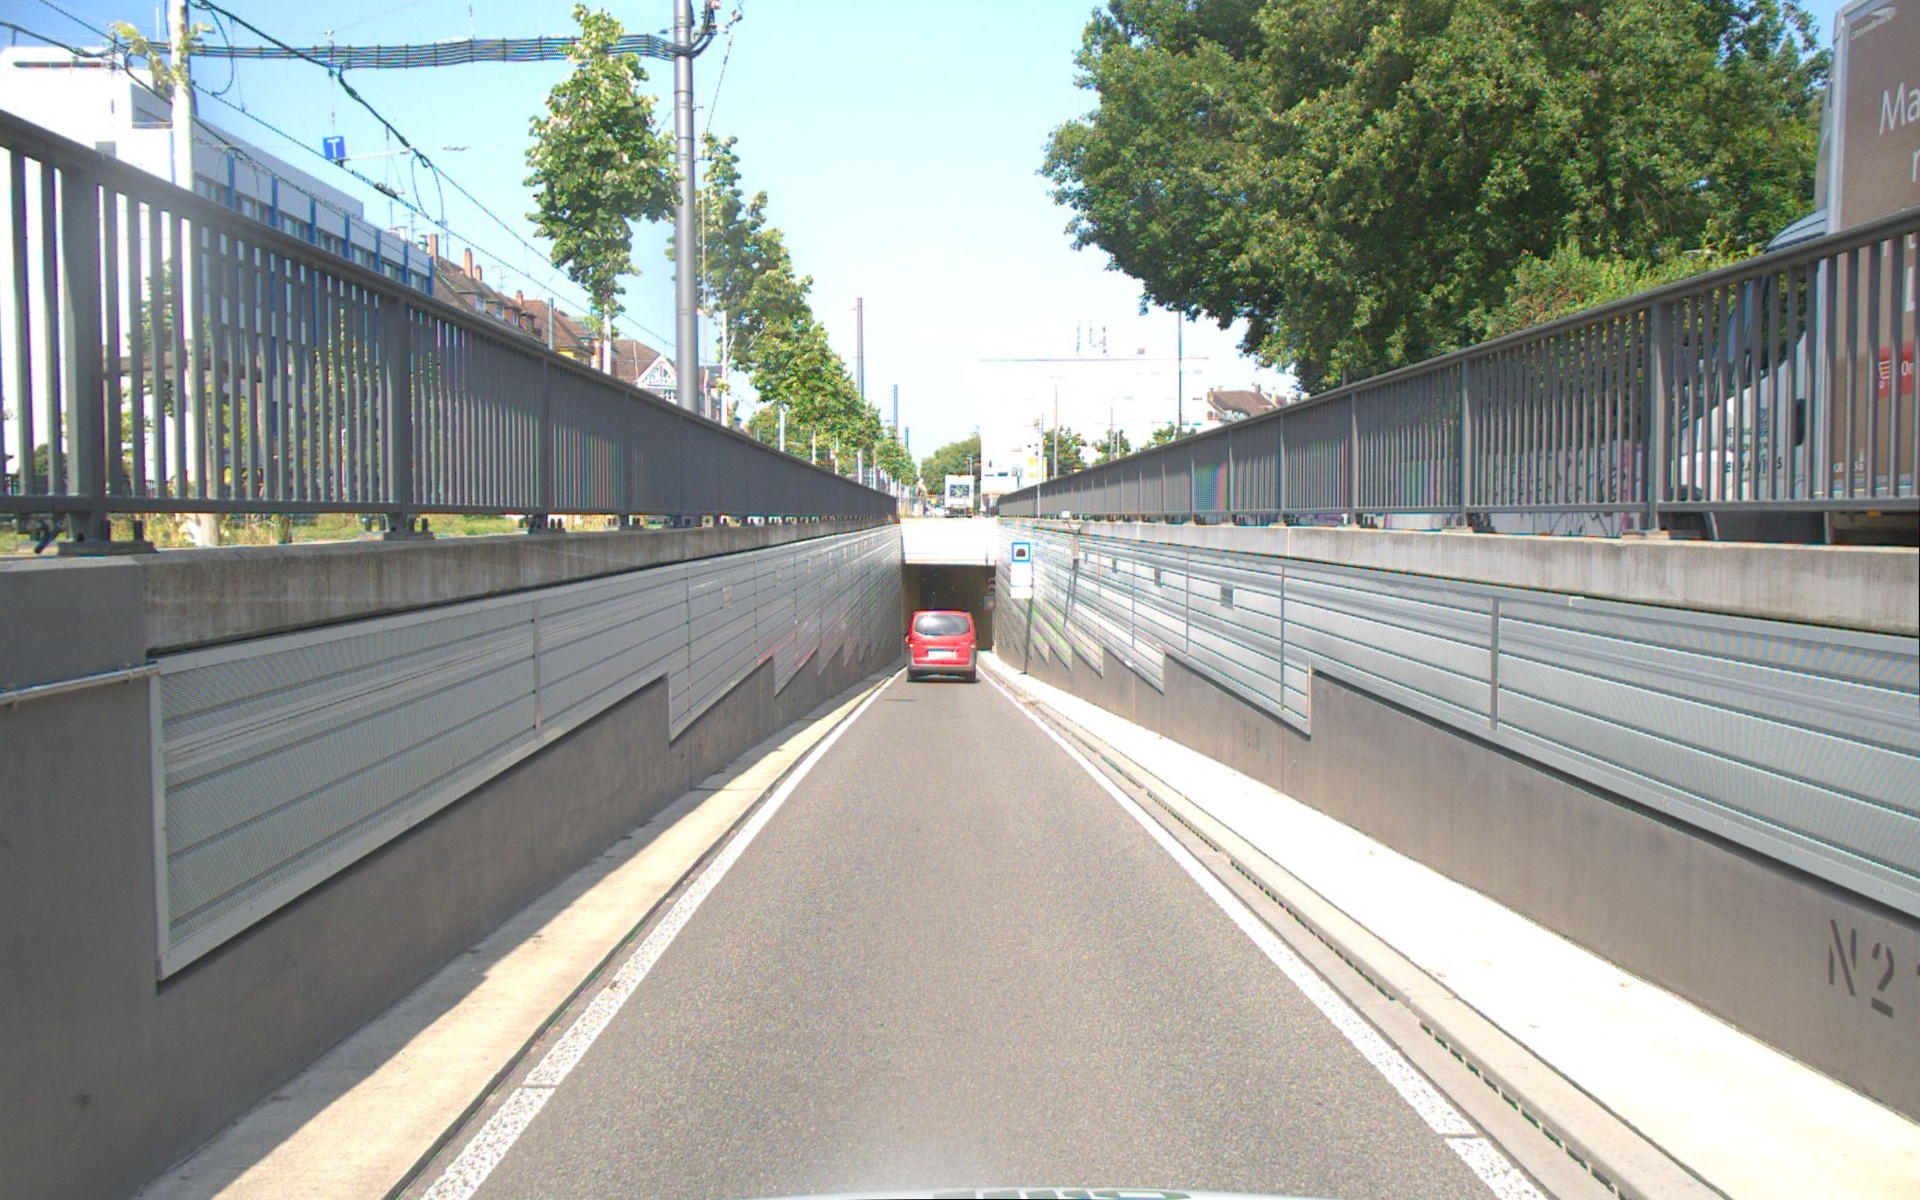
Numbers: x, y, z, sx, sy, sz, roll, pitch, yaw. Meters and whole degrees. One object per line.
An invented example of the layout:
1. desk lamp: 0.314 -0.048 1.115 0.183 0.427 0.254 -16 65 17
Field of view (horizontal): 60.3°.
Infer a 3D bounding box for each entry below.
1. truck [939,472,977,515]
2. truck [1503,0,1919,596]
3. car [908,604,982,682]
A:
1. truck: -0.251 -9.798 152.589 3.322 3.790 10.453 -1 3 -1
2. truck: 5.065 -1.599 7.242 2.452 3.112 7.823 2 5 -2
3. car: -0.427 1.126 44.880 1.862 1.892 4.000 2 1 -1
